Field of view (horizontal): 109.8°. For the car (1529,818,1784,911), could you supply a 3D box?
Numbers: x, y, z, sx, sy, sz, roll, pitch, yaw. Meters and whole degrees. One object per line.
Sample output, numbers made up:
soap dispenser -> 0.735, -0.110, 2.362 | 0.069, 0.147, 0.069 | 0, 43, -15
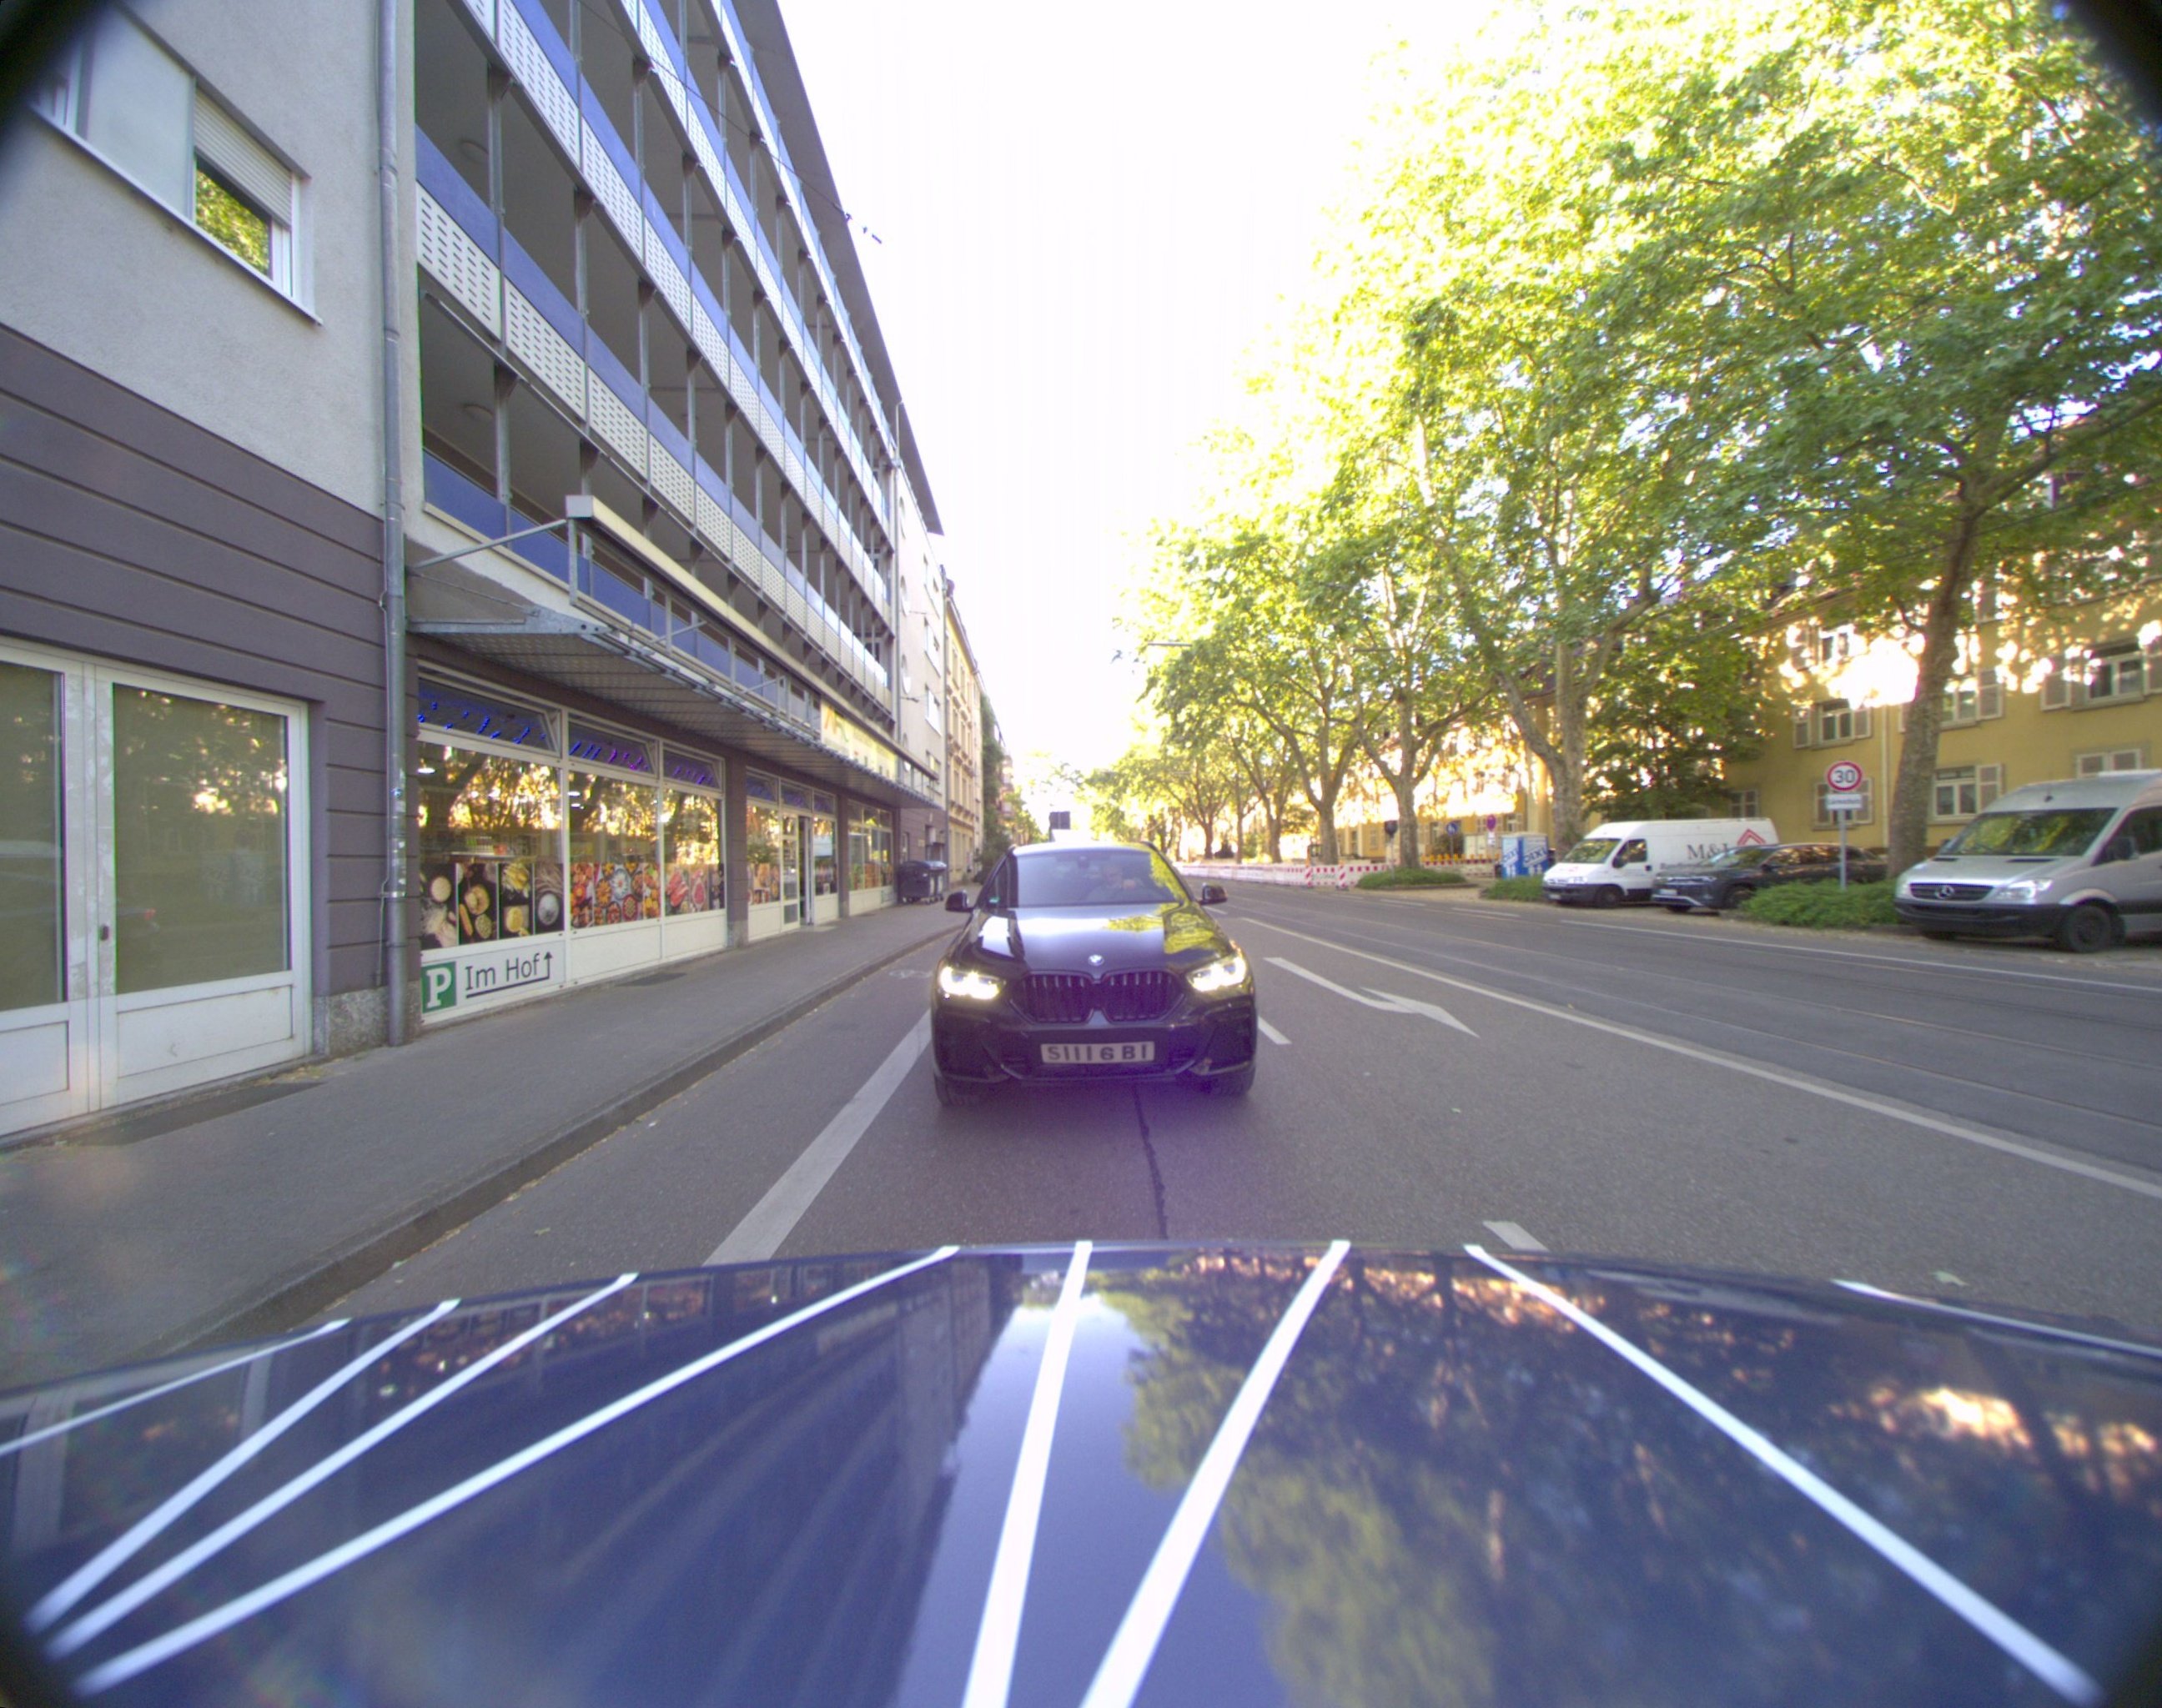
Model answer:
car -> 15.845, 0.288, 21.151 | 5.404, 2.362, 2.223 | -1, 0, 0

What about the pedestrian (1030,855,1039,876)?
pedestrian -> -4.257, 1.036, 70.045 | 0.733, 1.875, 0.664 | -2, 1, -1

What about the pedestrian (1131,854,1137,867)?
pedestrian -> 7.989, 1.025, 113.691 | 0.733, 1.875, 0.741 | -2, 1, -1

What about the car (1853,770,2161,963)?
car -> 15.984, 0.127, 11.862 | 5.666, 2.666, 2.223 | -2, 0, -2

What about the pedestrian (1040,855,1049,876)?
pedestrian -> -3.370, 1.015, 69.841 | 0.733, 1.875, 0.664 | -2, 1, -1

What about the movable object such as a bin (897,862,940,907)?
movable object such as a bin -> -5.245, 0.972, 24.652 | 1.158, 1.418, 0.939 | -1, 0, 1

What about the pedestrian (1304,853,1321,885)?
pedestrian -> 12.542, 0.810, 41.207 | 0.653, 1.735, 0.581 | -3, 2, -38

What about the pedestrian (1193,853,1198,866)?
pedestrian -> 16.825, 0.830, 111.535 | 0.732, 1.875, 0.665 | -2, 1, 8

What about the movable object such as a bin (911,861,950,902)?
movable object such as a bin -> -5.282, 0.953, 26.690 | 1.158, 1.418, 0.939 | -1, 0, 1

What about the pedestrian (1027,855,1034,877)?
pedestrian -> -4.558, 1.078, 68.614 | 0.600, 1.875, 0.581 | -2, 1, -1

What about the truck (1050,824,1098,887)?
truck -> -0.313, 0.120, 42.196 | 2.394, 3.170, 6.587 | -2, 0, 1

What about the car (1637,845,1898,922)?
car -> 16.078, 0.656, 17.944 | 4.627, 1.642, 1.774 | -1, 0, -2

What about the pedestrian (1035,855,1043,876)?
pedestrian -> -3.802, 1.045, 68.961 | 0.600, 1.875, 0.581 | -2, 1, -1

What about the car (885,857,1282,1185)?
car -> 0.042, 0.864, 6.028 | 1.998, 1.643, 4.295 | -1, 0, 1
